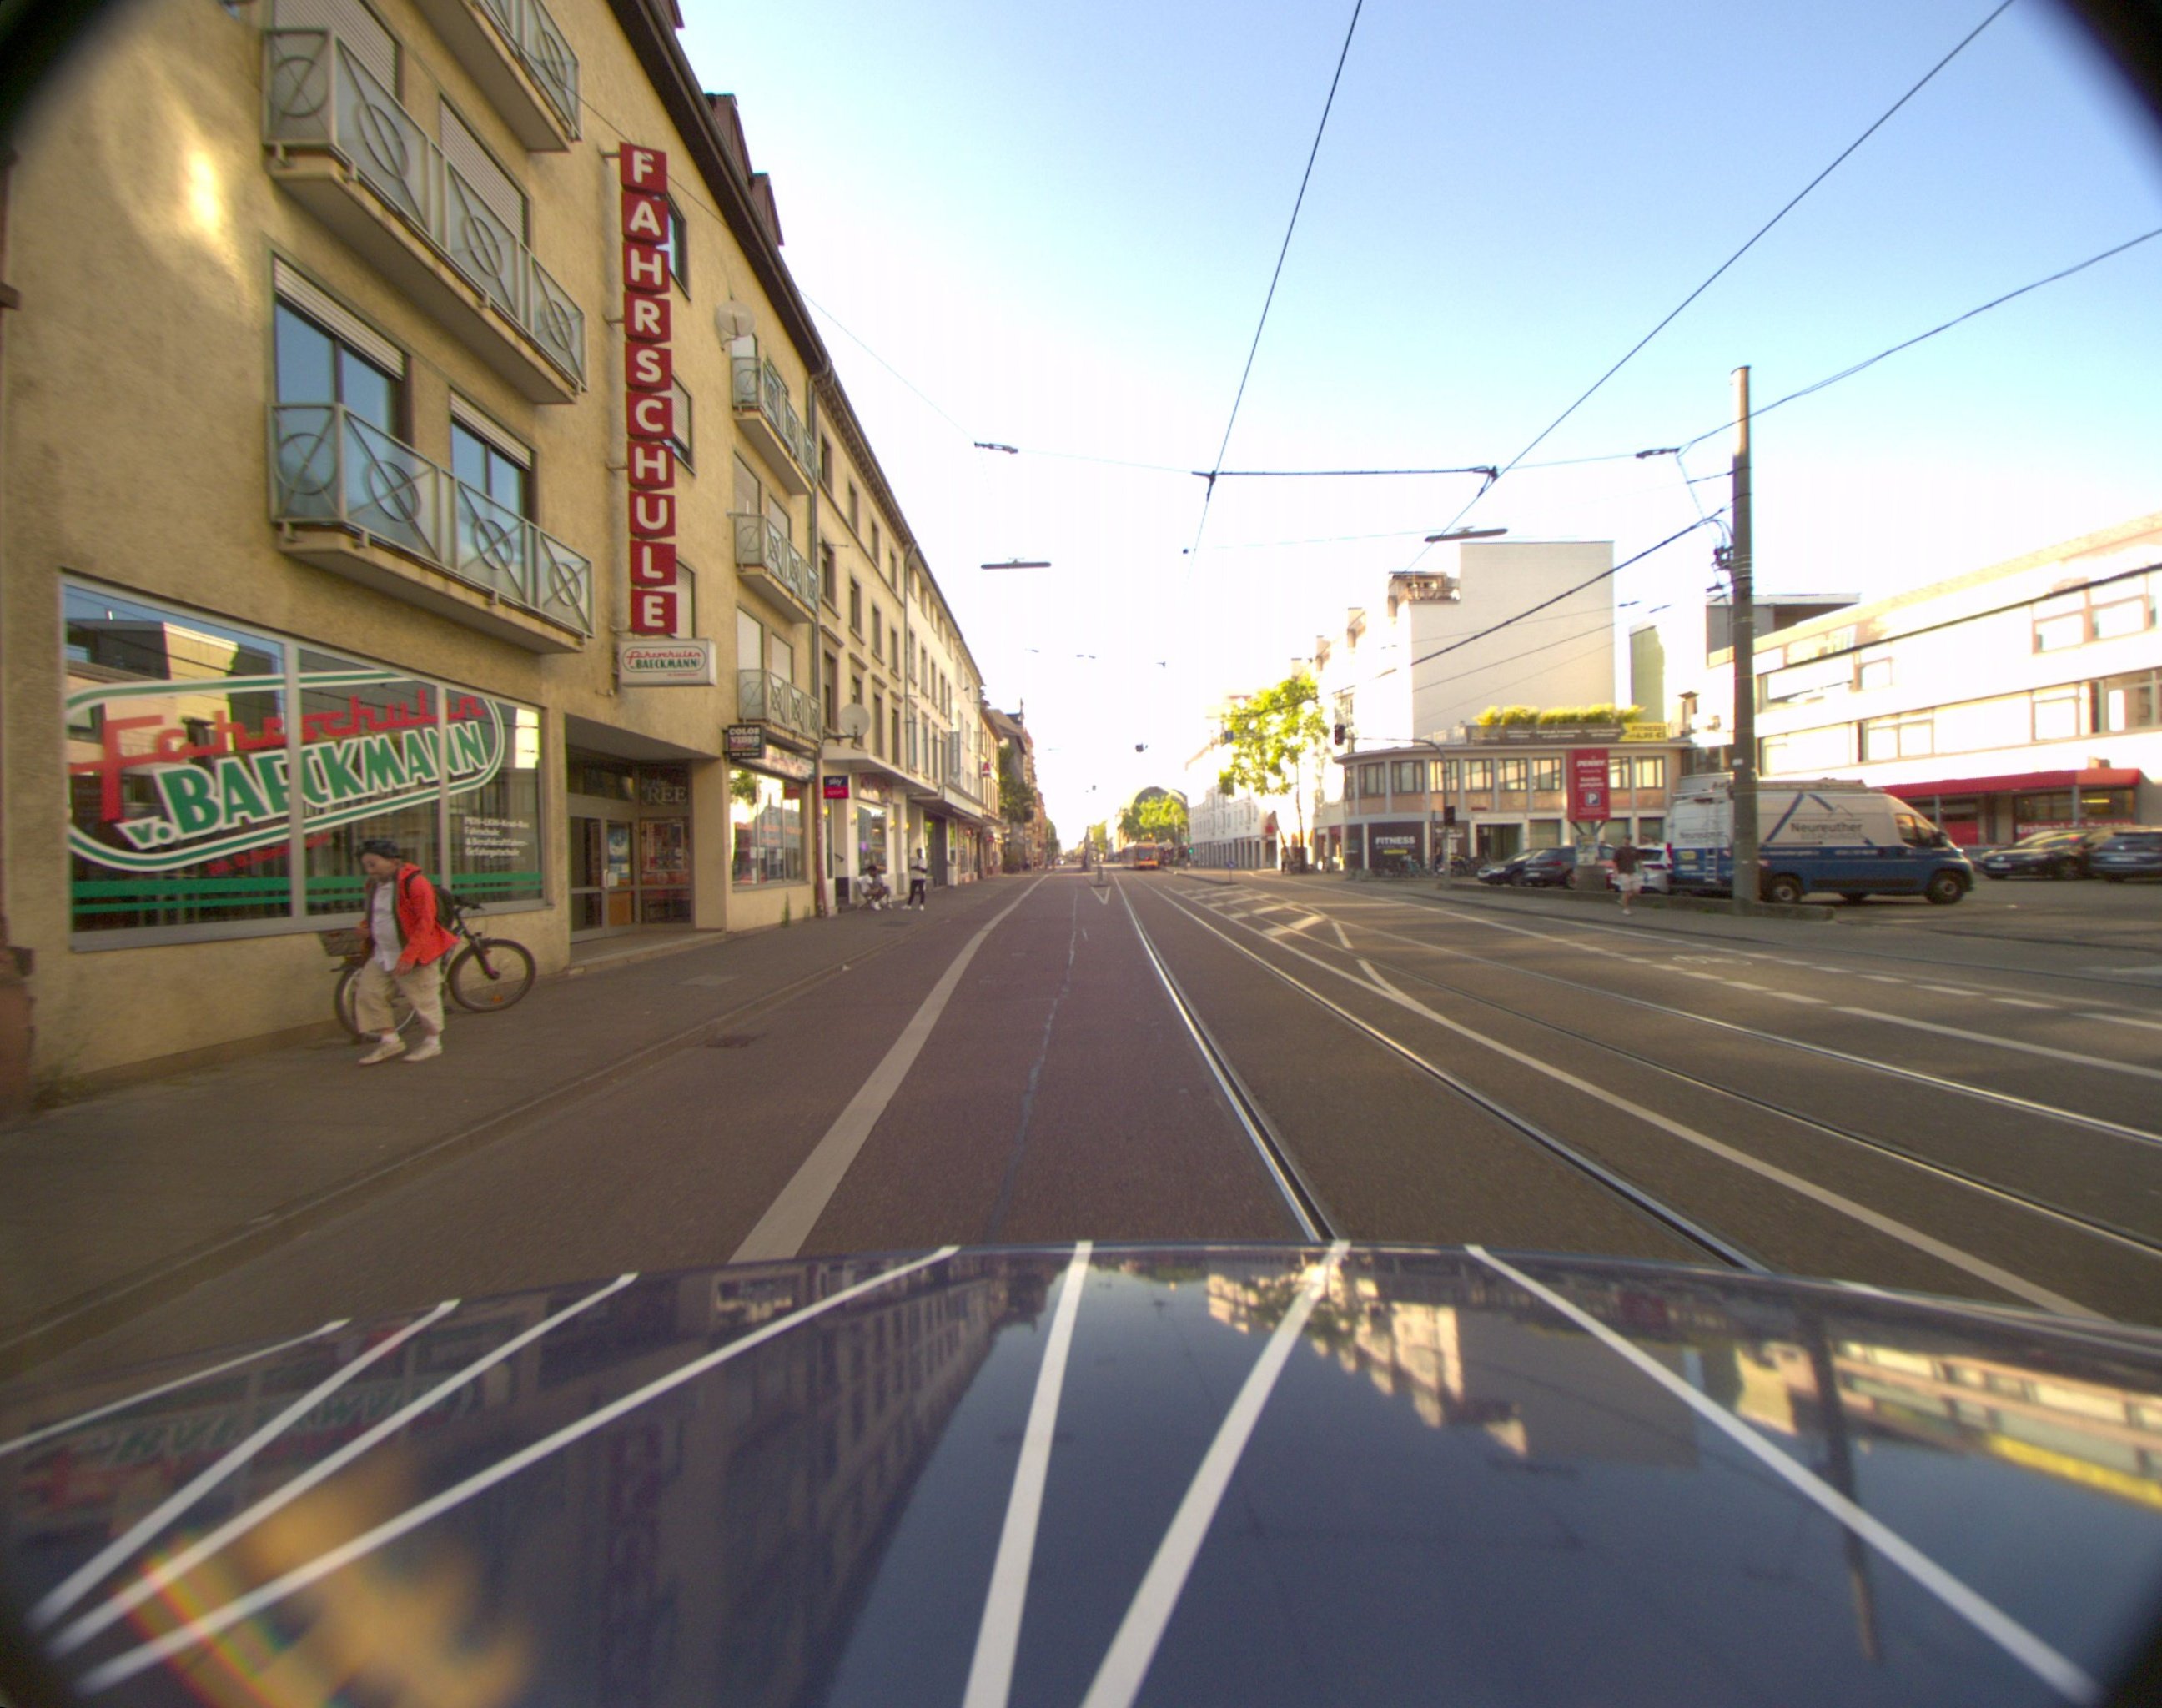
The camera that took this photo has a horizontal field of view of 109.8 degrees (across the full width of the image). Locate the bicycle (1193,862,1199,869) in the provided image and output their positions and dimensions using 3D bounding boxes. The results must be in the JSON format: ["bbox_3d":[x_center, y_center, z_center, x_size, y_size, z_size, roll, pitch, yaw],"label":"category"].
[{"bbox_3d":[16.592,1.618,109.677,0.518,0.983,1.727,-2,0,0],"label":"bicycle"}]

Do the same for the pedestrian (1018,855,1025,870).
[{"bbox_3d":[-6.356,0.889,81.227,0.651,1.569,0.682,0,0,-7],"label":"pedestrian"}]

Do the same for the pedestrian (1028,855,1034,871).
[{"bbox_3d":[-5.424,0.982,82.075,0.651,1.706,0.805,0,0,-7],"label":"pedestrian"}]

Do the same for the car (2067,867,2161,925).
[{"bbox_3d":[28.431,1.041,19.434,3.998,1.346,1.999,-1,0,-3],"label":"car"}]

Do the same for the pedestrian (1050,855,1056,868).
[{"bbox_3d":[-3.857,1.092,105.815,0.694,1.760,0.697,0,0,4],"label":"pedestrian"}]

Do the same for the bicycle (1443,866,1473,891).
[{"bbox_3d":[18.222,1.178,36.747,0.449,1.180,1.831,0,-1,-3],"label":"bicycle"}]

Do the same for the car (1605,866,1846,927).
[{"bbox_3d":[16.407,1.050,19.516,4.600,1.466,1.880,0,-1,0],"label":"car"}]

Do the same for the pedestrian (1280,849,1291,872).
[{"bbox_3d":[15.413,0.484,57.321,0.630,1.706,0.826,0,0,27],"label":"pedestrian"}]

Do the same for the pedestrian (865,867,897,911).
[{"bbox_3d":[-5.780,1.014,21.976,0.708,1.167,1.014,5,-1,-20],"label":"pedestrian"}]

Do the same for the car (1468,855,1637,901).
[{"bbox_3d":[16.886,0.847,27.377,4.907,1.574,1.880,0,-1,0],"label":"car"}]

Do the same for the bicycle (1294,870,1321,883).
[{"bbox_3d":[16.524,1.655,55.520,1.849,0.907,0.389,-2,0,5],"label":"bicycle"}]

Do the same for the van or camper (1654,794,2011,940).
[{"bbox_3d":[16.611,0.289,17.075,5.620,2.810,2.315,-3,0,0],"label":"van or camper"}]

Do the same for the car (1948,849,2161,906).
[{"bbox_3d":[28.033,0.640,21.880,3.998,1.499,1.999,-1,0,-3],"label":"car"}]

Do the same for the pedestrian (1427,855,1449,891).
[{"bbox_3d":[16.961,0.890,36.126,0.682,1.687,0.683,0,0,-2],"label":"pedestrian"}]

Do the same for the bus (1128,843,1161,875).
[{"bbox_3d":[7.355,0.574,89.654,2.818,3.546,13.679,0,0,0],"label":"bus"}]

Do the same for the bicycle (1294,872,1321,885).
[{"bbox_3d":[16.835,1.807,56.483,1.849,0.906,0.390,-2,-2,5],"label":"bicycle"}]

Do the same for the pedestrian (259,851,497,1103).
[{"bbox_3d":[-5.050,0.835,5.523,0.799,1.618,0.826,5,-1,5],"label":"pedestrian"}]

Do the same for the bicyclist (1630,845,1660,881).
[{"bbox_3d":[24.329,0.405,32.791,0.838,1.540,0.690,0,0,-17],"label":"bicyclist"}]

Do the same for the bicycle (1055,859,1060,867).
[{"bbox_3d":[-3.567,1.350,115.090,0.682,1.165,1.829,-1,5,-2],"label":"bicycle"}]

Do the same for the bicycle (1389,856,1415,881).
[{"bbox_3d":[15.582,0.691,36.939,0.441,1.180,1.831,0,-1,-1],"label":"bicycle"}]

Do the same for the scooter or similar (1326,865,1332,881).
[{"bbox_3d":[17.696,1.381,54.213,0.335,1.105,1.182,-1,0,23],"label":"scooter or similar"}]

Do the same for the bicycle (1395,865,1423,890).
[{"bbox_3d":[15.970,1.137,37.025,0.449,1.180,1.831,0,-1,-3],"label":"bicycle"}]

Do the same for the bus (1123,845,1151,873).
[{"bbox_3d":[7.439,0.656,103.025,2.818,3.546,13.678,0,0,0],"label":"bus"}]

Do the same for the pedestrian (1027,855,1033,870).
[{"bbox_3d":[-6.043,1.048,90.397,0.650,1.760,0.697,0,0,4],"label":"pedestrian"}]

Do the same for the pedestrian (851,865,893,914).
[{"bbox_3d":[-5.754,0.988,20.930,0.833,1.248,0.705,6,-1,-35],"label":"pedestrian"}]

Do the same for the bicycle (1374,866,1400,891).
[{"bbox_3d":[15.104,1.188,37.517,0.447,1.180,1.831,0,-1,-4],"label":"bicycle"}]

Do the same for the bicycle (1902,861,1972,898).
[{"bbox_3d":[28.614,0.824,25.437,0.432,1.180,1.832,0,0,7],"label":"bicycle"}]

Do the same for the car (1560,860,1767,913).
[{"bbox_3d":[16.843,0.928,22.147,4.600,1.466,1.880,0,-1,0],"label":"car"}]

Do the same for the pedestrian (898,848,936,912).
[{"bbox_3d":[-4.833,0.754,22.368,0.705,1.801,0.680,5,0,15],"label":"pedestrian"}]

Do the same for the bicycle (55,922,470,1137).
[{"bbox_3d":[-5.754,1.139,5.635,0.556,1.055,2.311,2,0,0],"label":"bicycle"}]

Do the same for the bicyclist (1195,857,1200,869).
[{"bbox_3d":[16.789,1.260,109.703,0.515,1.690,0.807,-2,0,0],"label":"bicyclist"}]

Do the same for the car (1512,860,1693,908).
[{"bbox_3d":[16.889,0.951,24.781,4.600,1.466,1.880,0,-1,0],"label":"car"}]

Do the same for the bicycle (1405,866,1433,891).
[{"bbox_3d":[16.401,1.173,36.928,0.444,1.180,1.831,0,-1,-3],"label":"bicycle"}]

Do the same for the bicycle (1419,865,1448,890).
[{"bbox_3d":[16.904,1.128,36.454,0.449,1.180,1.831,0,-1,-3],"label":"bicycle"}]

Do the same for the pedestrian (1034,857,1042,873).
[{"bbox_3d":[-4.888,1.288,85.872,0.807,1.789,0.761,0,0,0],"label":"pedestrian"}]

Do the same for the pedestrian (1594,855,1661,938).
[{"bbox_3d":[12.292,0.944,17.126,0.835,1.821,0.909,0,0,-1],"label":"pedestrian"}]

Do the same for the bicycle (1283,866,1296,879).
[{"bbox_3d":[15.550,1.367,56.680,0.389,0.907,1.851,-2,0,1],"label":"bicycle"}]

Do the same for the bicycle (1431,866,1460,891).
[{"bbox_3d":[17.553,1.177,36.618,0.449,1.180,1.831,0,-1,-3],"label":"bicycle"}]
